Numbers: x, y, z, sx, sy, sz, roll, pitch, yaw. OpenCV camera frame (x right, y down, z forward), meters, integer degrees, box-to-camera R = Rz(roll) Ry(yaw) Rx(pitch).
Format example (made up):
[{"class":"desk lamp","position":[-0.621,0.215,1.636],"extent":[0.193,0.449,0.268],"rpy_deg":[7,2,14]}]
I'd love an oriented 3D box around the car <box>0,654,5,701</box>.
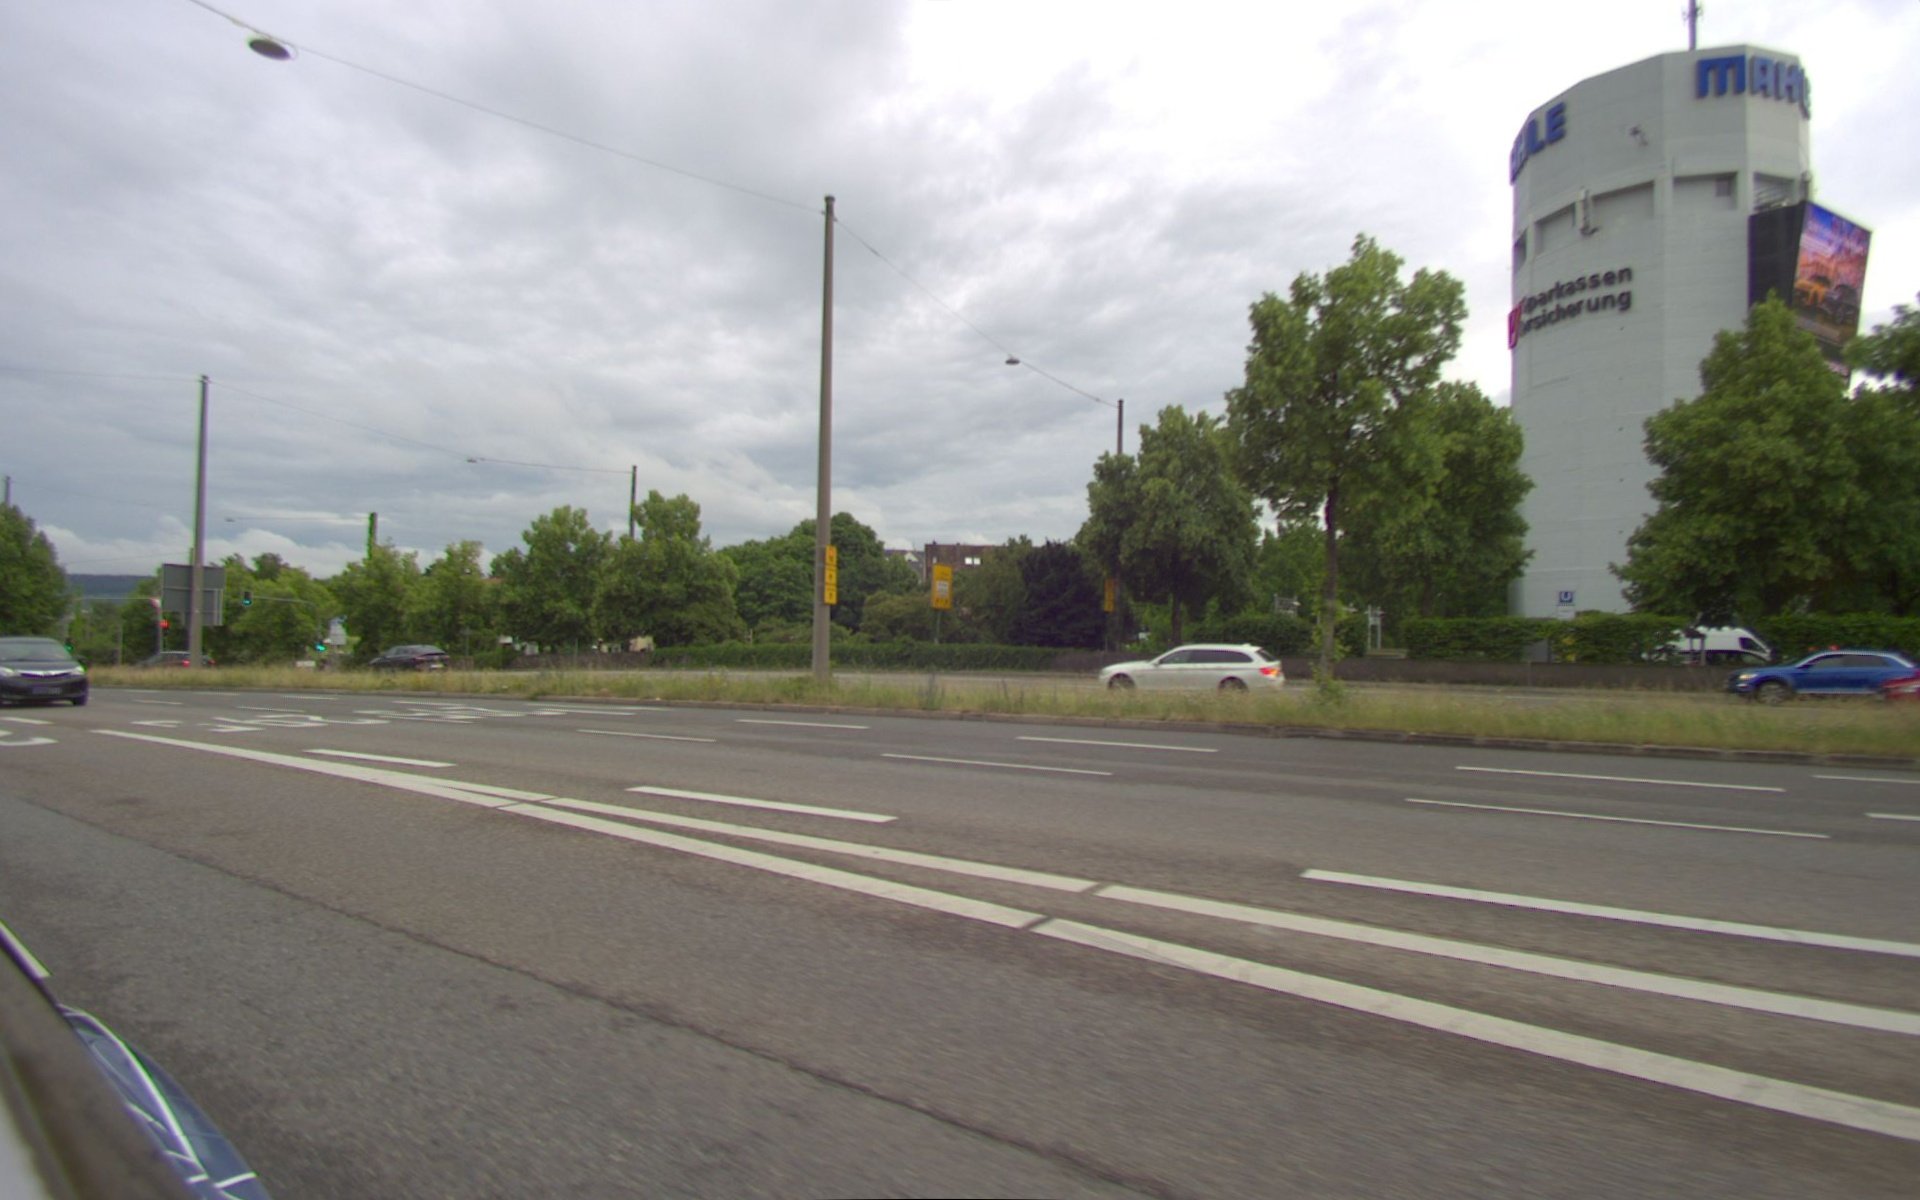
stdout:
[{"class":"car","position":[-40.958,3.242,41.361],"extent":[3.989,1.875,1.977],"rpy_deg":[-4,-4,34]}]

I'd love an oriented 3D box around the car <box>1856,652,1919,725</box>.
[{"class":"car","position":[22.557,1.924,22.132],"extent":[3.978,1.543,1.898],"rpy_deg":[-2,-2,26]}]

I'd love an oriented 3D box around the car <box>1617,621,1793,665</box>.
[{"class":"car","position":[38.427,2.201,52.509],"extent":[6.962,2.147,2.369],"rpy_deg":[-1,-1,27]}]

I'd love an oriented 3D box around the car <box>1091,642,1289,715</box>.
[{"class":"car","position":[6.132,2.029,27.052],"extent":[4.843,1.784,1.983],"rpy_deg":[-1,-2,25]}]

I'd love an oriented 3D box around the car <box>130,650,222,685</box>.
[{"class":"car","position":[-36.578,3.160,47.205],"extent":[3.980,1.519,1.878],"rpy_deg":[-3,-5,27]}]

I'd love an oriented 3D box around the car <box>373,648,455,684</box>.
[{"class":"car","position":[-23.929,2.883,44.340],"extent":[3.666,1.371,1.581],"rpy_deg":[-4,-2,33]}]

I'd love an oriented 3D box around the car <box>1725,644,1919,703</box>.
[{"class":"car","position":[22.673,1.883,26.452],"extent":[3.962,1.453,1.865],"rpy_deg":[-2,-3,28]}]

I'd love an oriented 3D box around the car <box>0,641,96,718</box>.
[{"class":"car","position":[-21.631,1.880,23.266],"extent":[4.035,1.577,1.780],"rpy_deg":[-6,-3,36]}]
